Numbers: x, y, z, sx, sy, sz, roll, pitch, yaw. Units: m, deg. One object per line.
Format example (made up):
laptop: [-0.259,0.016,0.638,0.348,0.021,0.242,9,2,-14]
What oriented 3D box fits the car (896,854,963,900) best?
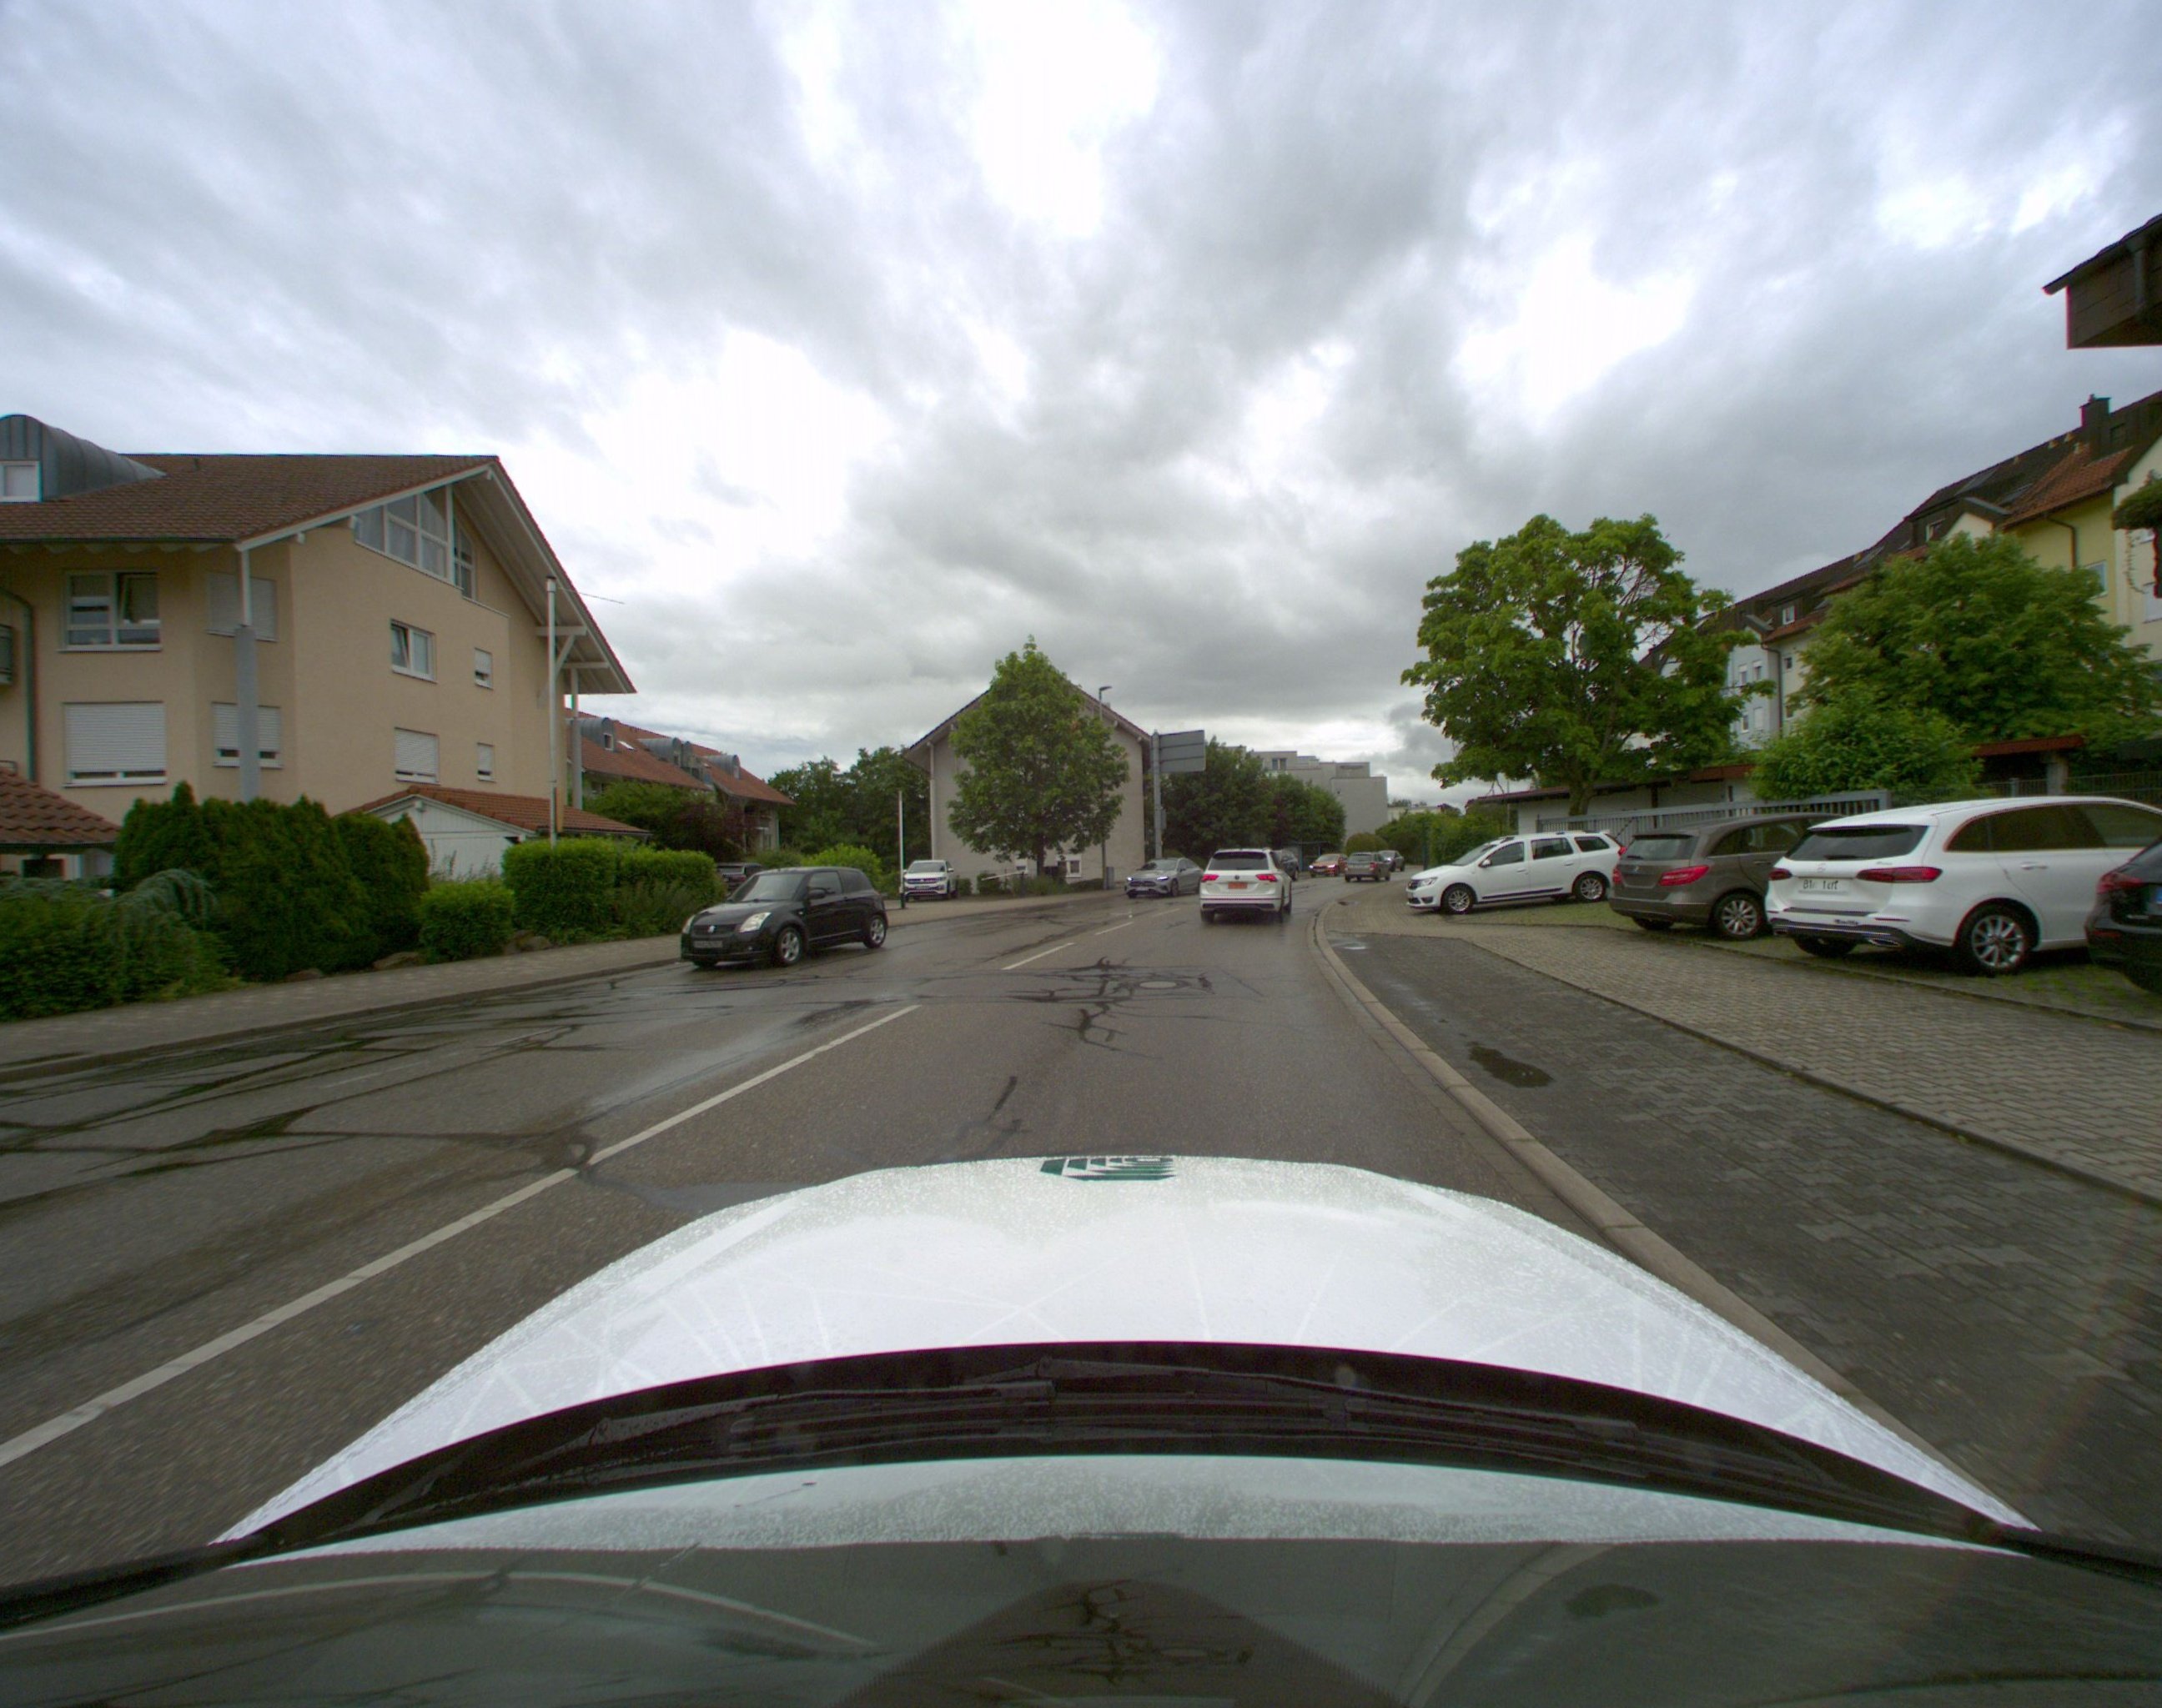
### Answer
car: [-5.759,0.904,31.445,1.989,1.651,3.995,0,-2,-2]

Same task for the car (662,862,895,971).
car: [-4.744,0.925,13.360,1.575,1.422,3.712,-3,0,17]

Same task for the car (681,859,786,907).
car: [-12.903,1.084,30.517,1.985,1.651,4.003,0,-2,3]

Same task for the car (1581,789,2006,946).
car: [9.541,0.174,11.198,4.029,1.596,1.905,-5,-1,1]

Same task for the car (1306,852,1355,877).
car: [15.959,0.663,51.991,1.883,1.439,4.141,-2,-1,34]

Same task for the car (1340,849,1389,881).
car: [14.308,0.603,40.966,1.749,1.510,4.023,-2,-2,27]

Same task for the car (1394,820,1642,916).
car: [9.319,0.300,17.711,4.316,1.596,1.770,-6,-1,8]

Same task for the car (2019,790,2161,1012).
car: [9.339,0.149,5.290,4.026,1.489,1.907,-6,-1,4]

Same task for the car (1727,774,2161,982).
car: [9.319,0.154,8.191,4.032,1.596,1.895,-5,-1,0]

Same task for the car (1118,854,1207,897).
car: [3.190,0.767,30.974,1.884,1.390,4.516,-1,1,26]

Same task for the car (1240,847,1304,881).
car: [10.093,0.497,42.880,1.883,1.657,4.294,-2,0,33]

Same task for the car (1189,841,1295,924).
car: [3.924,0.596,19.273,1.905,1.722,4.285,-1,0,18]

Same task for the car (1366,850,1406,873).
car: [22.654,0.531,60.441,1.883,1.657,4.141,-2,-1,34]
